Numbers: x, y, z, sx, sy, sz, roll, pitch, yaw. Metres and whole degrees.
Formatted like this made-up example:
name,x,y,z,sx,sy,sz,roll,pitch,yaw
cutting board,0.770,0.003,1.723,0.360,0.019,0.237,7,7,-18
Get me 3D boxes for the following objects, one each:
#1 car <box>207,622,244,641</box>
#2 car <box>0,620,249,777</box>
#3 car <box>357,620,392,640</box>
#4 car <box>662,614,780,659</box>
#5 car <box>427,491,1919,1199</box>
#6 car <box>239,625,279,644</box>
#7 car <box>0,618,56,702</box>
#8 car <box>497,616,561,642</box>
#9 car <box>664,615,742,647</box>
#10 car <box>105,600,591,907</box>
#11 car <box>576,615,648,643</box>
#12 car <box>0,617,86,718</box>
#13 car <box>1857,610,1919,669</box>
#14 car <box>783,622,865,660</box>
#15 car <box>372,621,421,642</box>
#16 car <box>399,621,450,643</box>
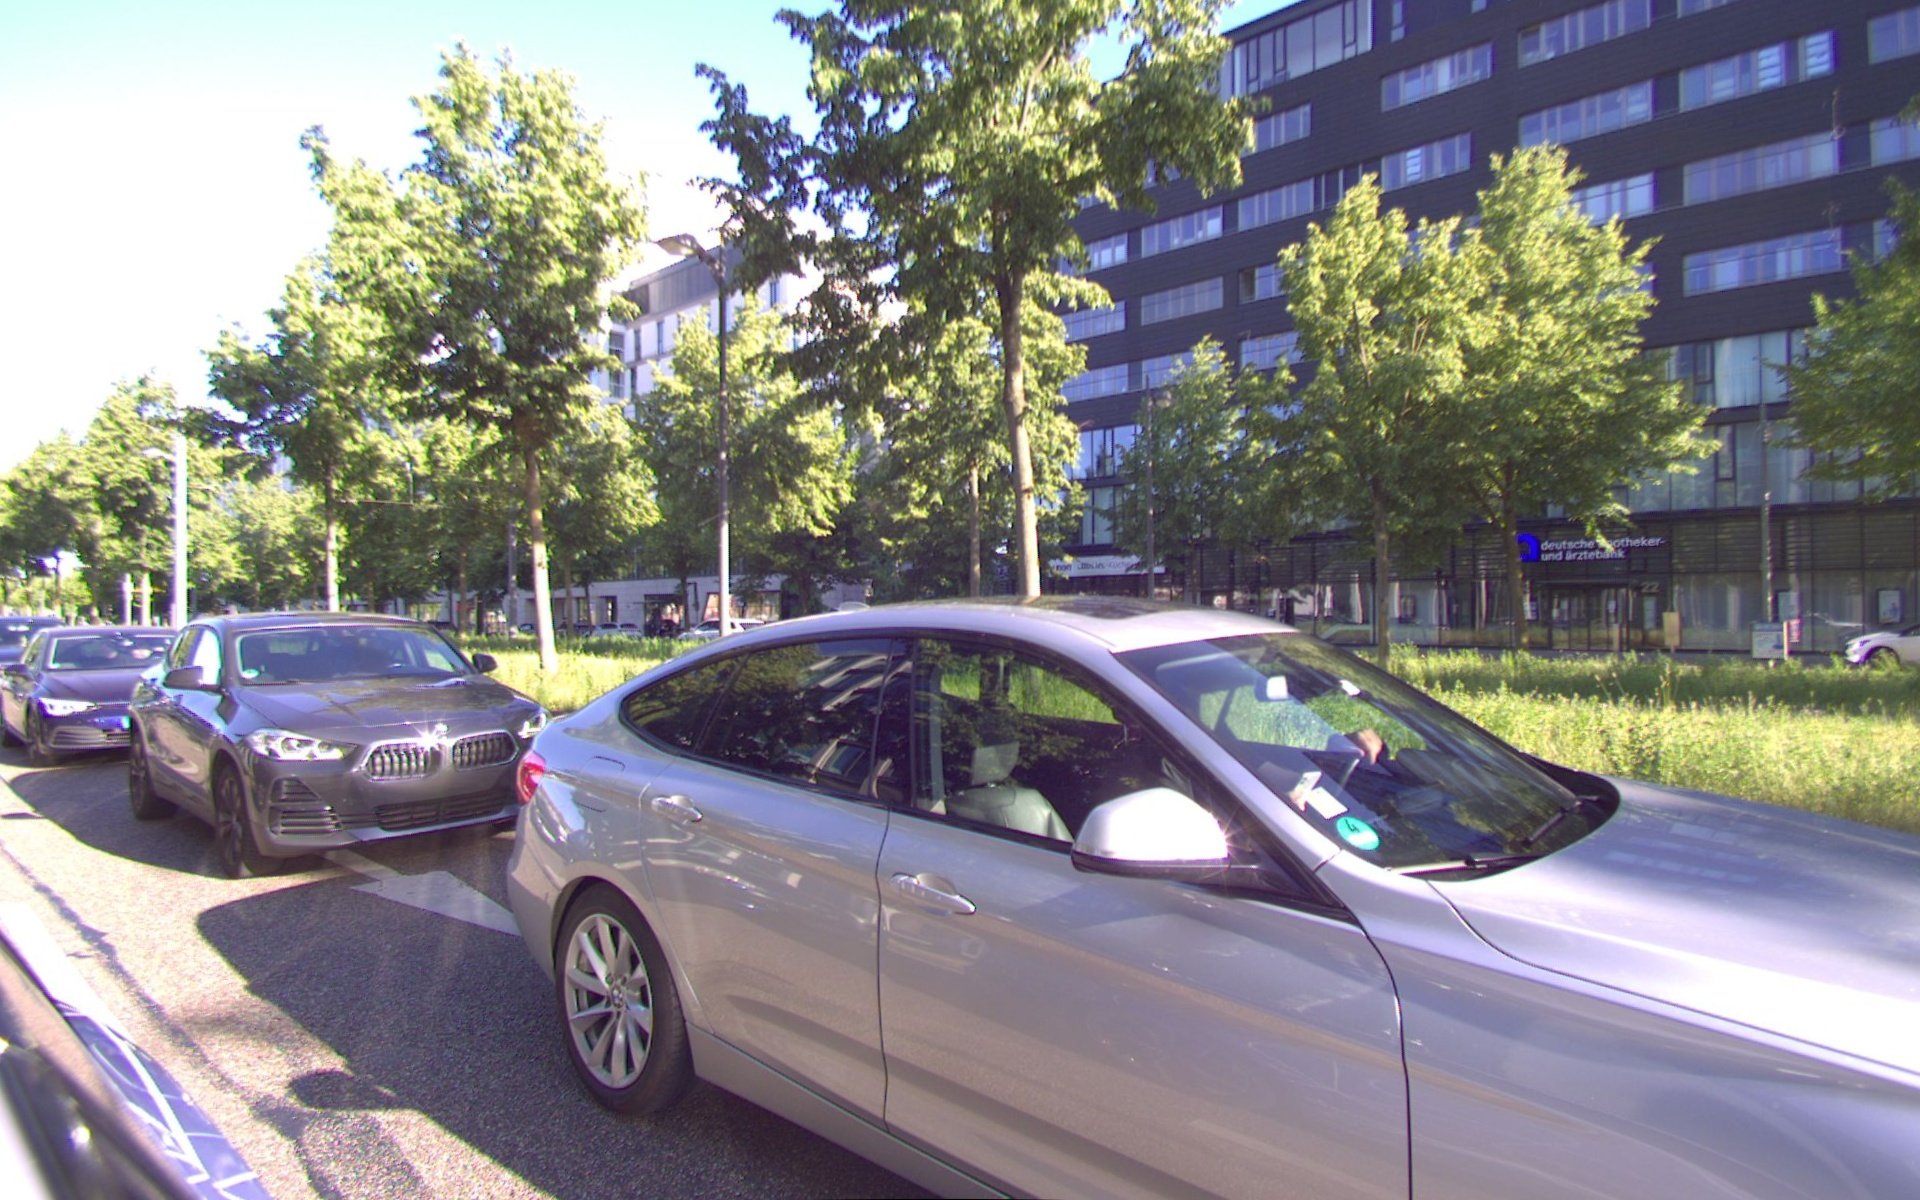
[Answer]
name,x,y,z,sx,sy,sz,roll,pitch,yaw
car,-69.518,3.006,95.806,4.790,1.742,1.834,-1,-1,41
car,-9.820,0.981,11.654,4.253,1.465,1.789,-1,-1,42
car,-51.017,2.637,88.153,3.741,1.682,1.581,-1,-1,41
car,-8.874,1.337,37.396,4.733,1.549,1.834,-1,-1,41
car,0.496,0.664,2.720,4.739,1.500,1.790,-1,-1,40
car,-55.198,2.700,79.660,3.998,1.403,1.644,-1,-1,41
car,-21.590,1.279,22.173,4.788,1.711,1.986,-1,-1,40
car,-29.722,1.987,69.805,4.785,1.711,1.988,-1,-1,38
car,-14.332,1.721,56.331,4.790,1.697,1.834,-1,-1,41
car,-4.436,0.811,7.083,4.027,1.534,1.789,-1,-1,41
car,-21.751,1.814,63.232,4.785,1.711,1.988,-1,-1,38
car,-16.835,1.127,17.771,4.164,1.602,1.788,-1,-1,42
car,25.837,1.013,26.125,3.999,1.516,1.734,-1,-1,42
car,-6.677,1.967,49.427,3.998,1.762,1.834,-1,-1,41
car,-47.359,2.647,85.001,4.788,1.711,1.986,-1,-1,40
car,-42.974,2.573,81.199,4.788,1.711,1.986,-1,-1,40
